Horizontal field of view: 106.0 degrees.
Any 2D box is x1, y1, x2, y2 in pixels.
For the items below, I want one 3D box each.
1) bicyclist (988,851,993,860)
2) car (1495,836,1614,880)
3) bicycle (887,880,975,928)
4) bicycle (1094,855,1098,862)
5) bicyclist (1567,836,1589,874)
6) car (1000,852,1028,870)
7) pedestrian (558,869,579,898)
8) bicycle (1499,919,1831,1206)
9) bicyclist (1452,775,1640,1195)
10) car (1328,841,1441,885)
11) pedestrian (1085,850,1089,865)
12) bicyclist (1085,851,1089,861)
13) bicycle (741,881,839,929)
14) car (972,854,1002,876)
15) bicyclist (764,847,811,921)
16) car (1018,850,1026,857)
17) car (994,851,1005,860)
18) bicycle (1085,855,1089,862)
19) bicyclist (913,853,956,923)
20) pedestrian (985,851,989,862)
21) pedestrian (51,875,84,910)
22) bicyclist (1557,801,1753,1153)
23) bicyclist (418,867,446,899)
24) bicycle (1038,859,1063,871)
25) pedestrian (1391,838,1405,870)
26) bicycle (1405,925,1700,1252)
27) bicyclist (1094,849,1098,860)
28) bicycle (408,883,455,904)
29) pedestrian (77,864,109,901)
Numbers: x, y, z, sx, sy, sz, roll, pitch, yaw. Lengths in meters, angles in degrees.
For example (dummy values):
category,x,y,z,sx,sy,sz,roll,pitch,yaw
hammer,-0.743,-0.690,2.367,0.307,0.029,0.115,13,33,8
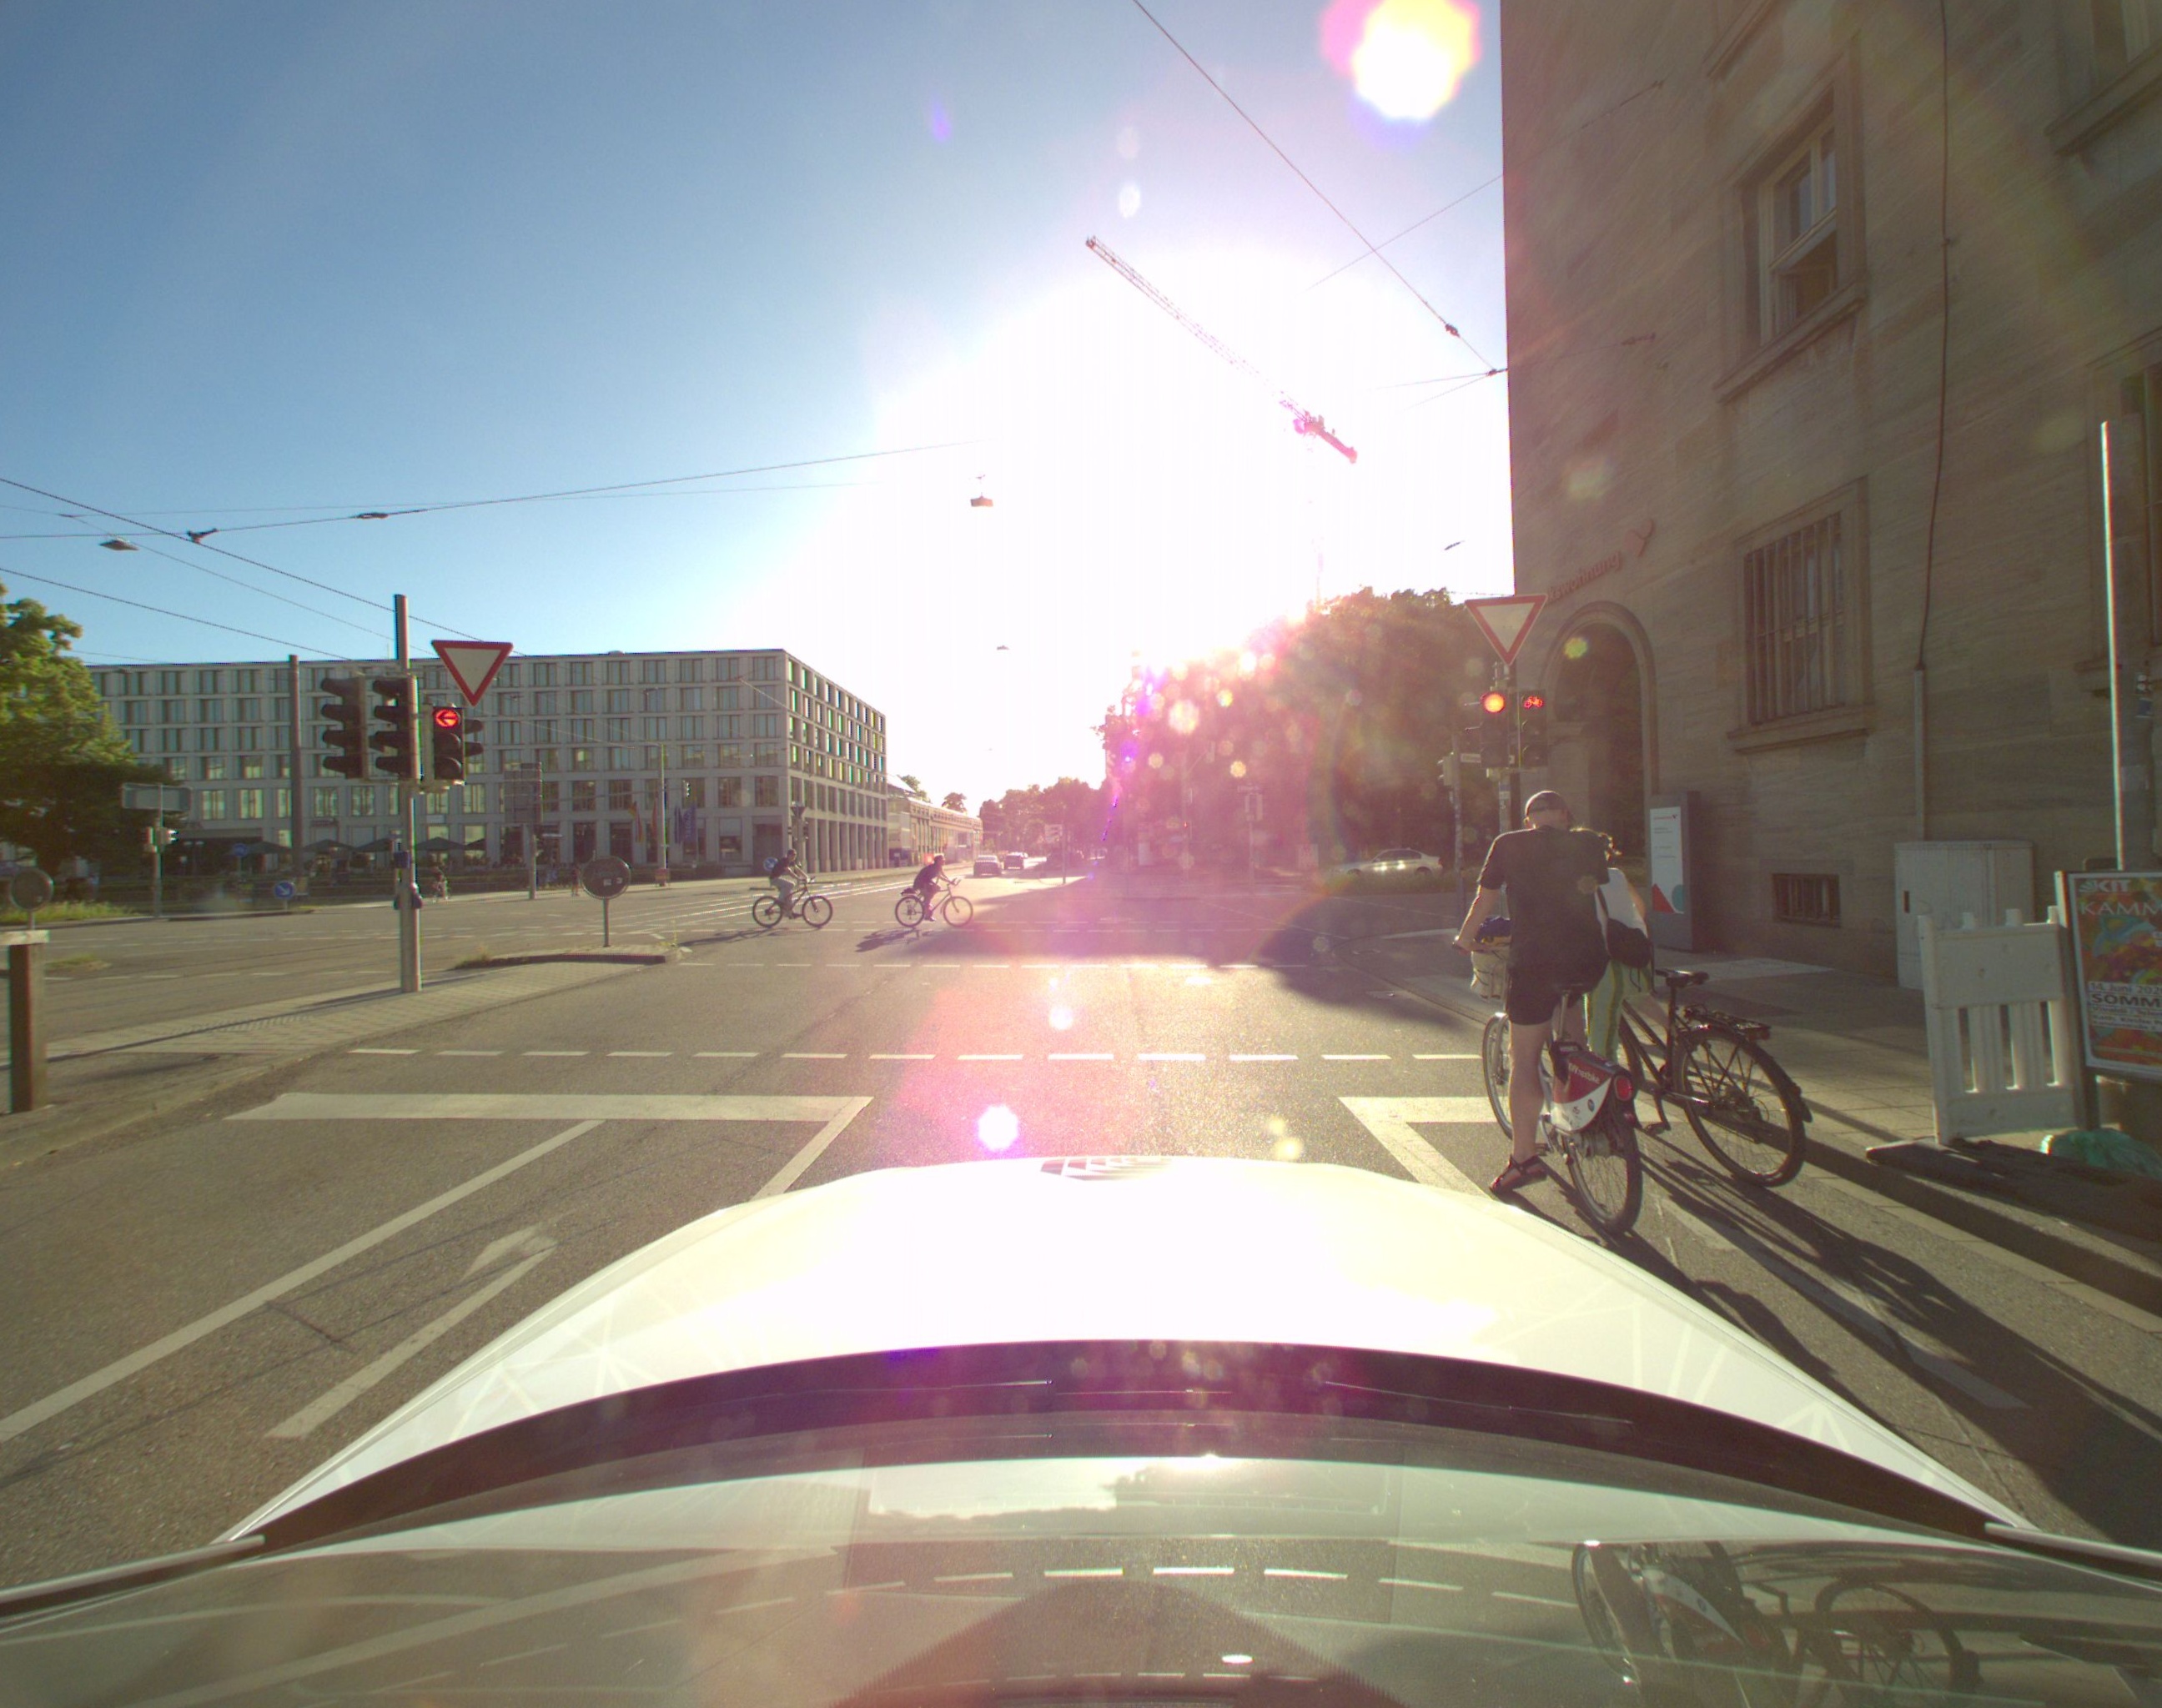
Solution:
category,x,y,z,sx,sy,sz,roll,pitch,yaw
bicyclist,-14.062,0.223,126.394,0.594,1.377,0.637,0,-1,0
car,19.187,0.156,33.091,3.835,1.611,1.650,-2,0,1
bicycle,-3.167,1.052,17.351,1.739,0.935,0.645,-2,0,-3
bicycle,2.354,0.711,128.305,0.573,1.077,1.831,-2,0,1
bicyclist,22.081,0.042,36.160,0.640,1.683,0.508,-2,0,7
car,-6.536,0.663,80.127,1.882,1.565,4.815,1,0,6
pedestrian,-28.652,1.624,45.562,0.775,1.589,0.589,-2,0,-9
bicycle,2.944,0.960,4.354,0.532,1.077,1.751,-1,0,1
bicyclist,2.125,0.562,3.781,0.556,1.799,0.551,-1,0,3
car,12.349,0.356,33.257,3.979,1.611,1.650,-2,0,1
pedestrian,0.716,0.393,98.154,0.462,1.813,0.502,-2,0,-3
bicyclist,1.002,0.319,128.179,0.567,1.691,0.700,-2,0,1
bicycle,-6.167,1.073,17.323,1.853,0.935,0.559,-2,0,-4
car,-6.613,0.756,57.527,1.655,1.455,4.431,-1,0,0
bicyclist,-6.260,0.624,17.375,0.761,1.524,0.606,-2,0,-3
car,-14.232,-0.104,195.324,1.688,1.718,4.245,0,-1,-1
car,-15.662,0.276,157.074,1.688,1.718,4.245,0,-1,-1
bicycle,1.000,0.721,128.128,0.573,1.077,1.831,-2,0,1
bicyclist,-3.126,0.709,17.366,0.796,1.450,0.617,-1,0,-4
pedestrian,-18.462,0.514,159.234,0.672,2.014,0.751,0,-1,-1
pedestrian,-55.661,2.098,44.732,0.711,1.900,0.877,-1,-1,10
bicyclist,2.955,0.593,4.248,0.556,1.691,0.640,-1,0,0
bicyclist,-32.835,1.452,41.219,0.755,1.589,0.779,-2,-1,6
bicycle,-2.568,0.911,67.705,1.996,0.891,0.655,-4,-1,29
pedestrian,17.036,-0.004,43.815,0.580,1.663,0.515,0,1,4
bicycle,2.123,0.959,3.938,0.513,1.077,1.729,-1,0,4
bicyclist,2.342,0.056,128.282,0.567,1.691,0.700,-2,0,1
bicycle,-32.819,1.981,41.192,0.756,0.935,1.867,-2,0,6
pedestrian,-55.406,1.589,45.678,0.837,2.014,0.827,-1,-1,11
